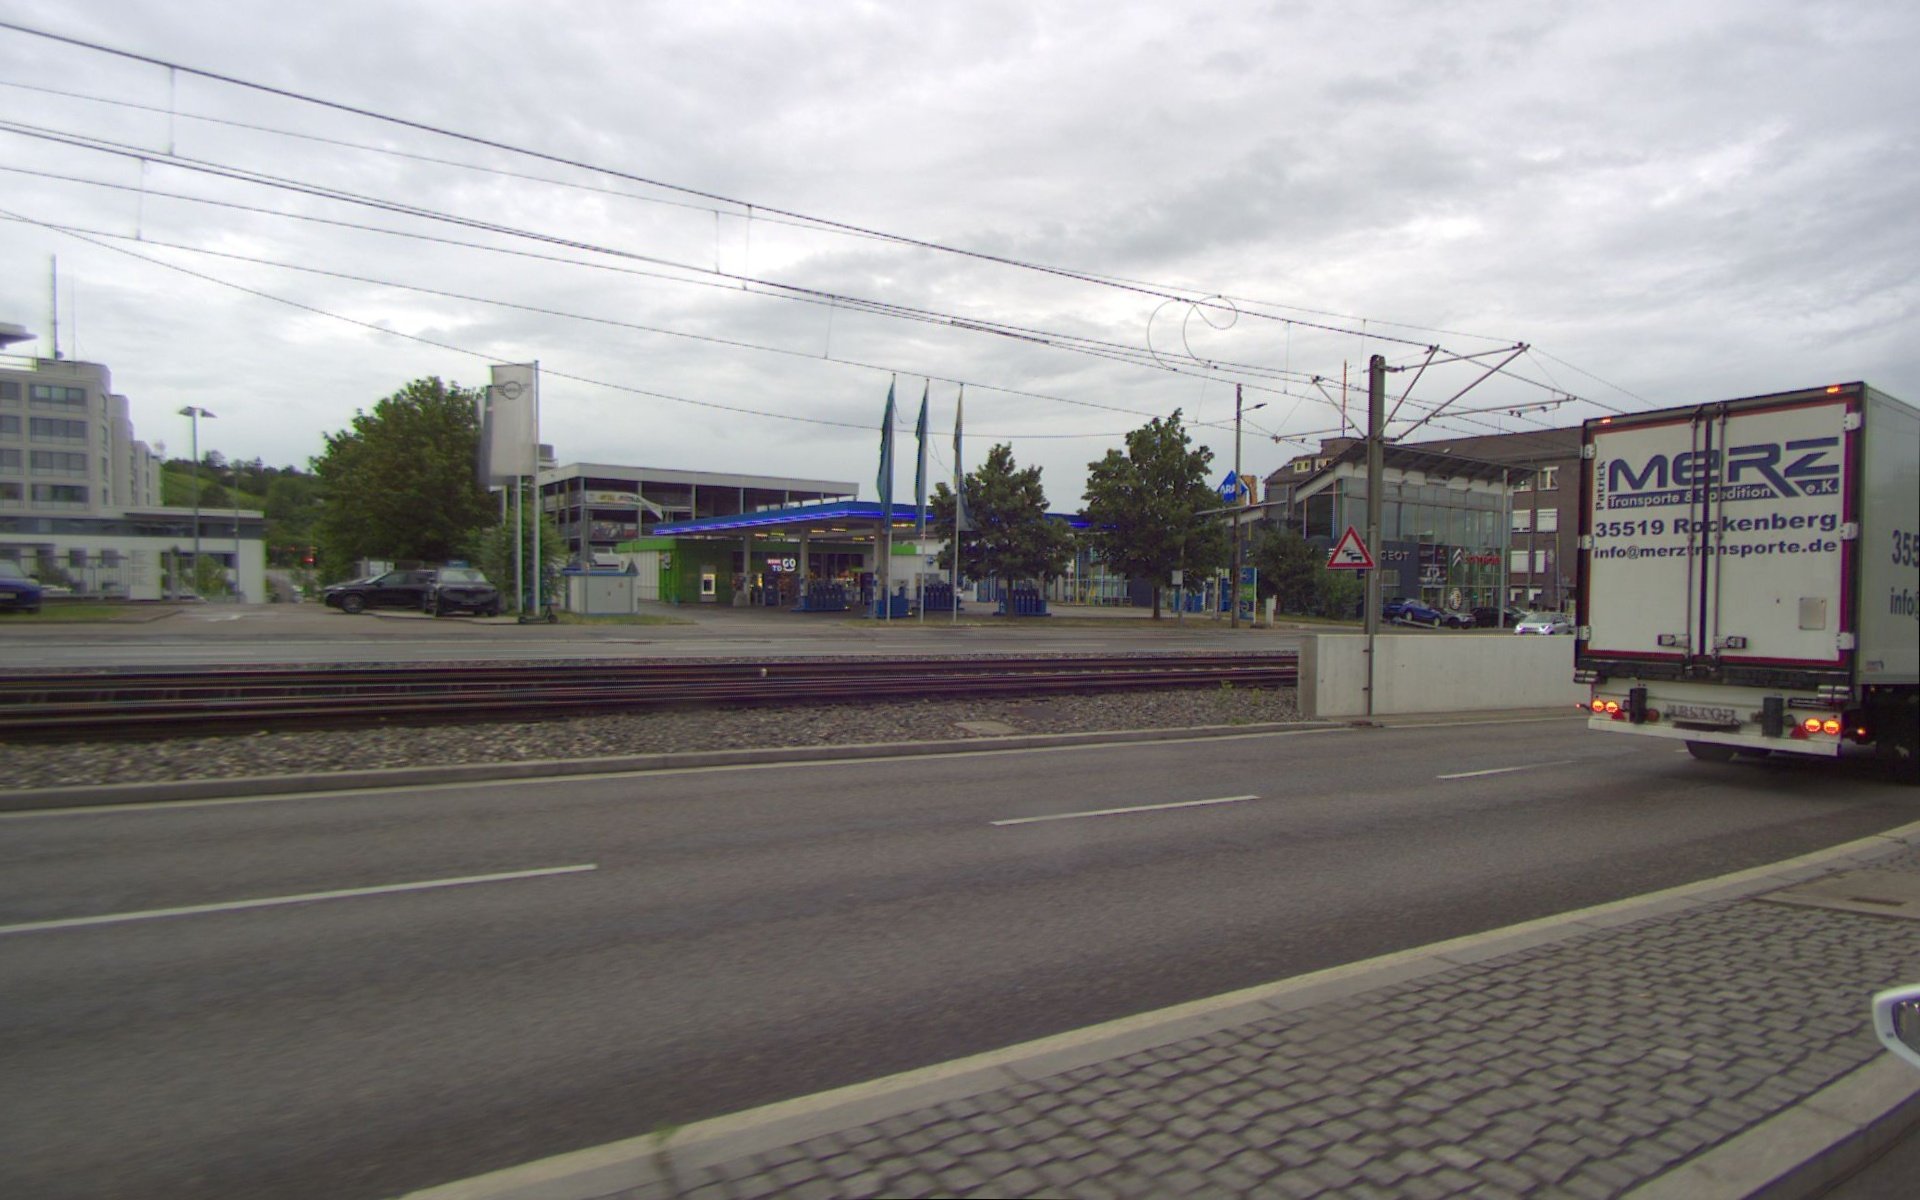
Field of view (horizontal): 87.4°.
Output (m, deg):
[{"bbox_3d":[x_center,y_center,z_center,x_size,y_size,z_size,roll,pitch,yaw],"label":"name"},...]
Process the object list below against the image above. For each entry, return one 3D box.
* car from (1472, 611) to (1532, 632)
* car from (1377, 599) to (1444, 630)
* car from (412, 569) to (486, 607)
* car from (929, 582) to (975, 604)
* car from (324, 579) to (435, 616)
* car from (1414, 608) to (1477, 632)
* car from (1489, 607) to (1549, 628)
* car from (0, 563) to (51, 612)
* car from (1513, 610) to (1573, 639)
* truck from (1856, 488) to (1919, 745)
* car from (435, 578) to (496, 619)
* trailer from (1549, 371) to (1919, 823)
[{"bbox_3d":[39.131,1.537,72.570,1.731,1.493,3.460,1,0,-33],"label":"car"},{"bbox_3d":[29.163,0.929,64.997,4.015,1.630,1.756,5,-1,-26],"label":"car"},{"bbox_3d":[-22.782,-0.526,44.774,2.773,1.594,1.372,1,1,-35],"label":"car"},{"bbox_3d":[-0.671,-0.581,78.899,1.836,1.662,3.966,1,1,-31],"label":"car"},{"bbox_3d":[-21.284,-0.085,36.864,3.398,1.260,1.574,1,1,-37],"label":"car"},{"bbox_3d":[32.835,1.376,67.959,1.559,1.421,3.480,0,-4,-36],"label":"car"},{"bbox_3d":[41.215,1.276,74.066,1.731,1.416,3.460,1,0,-33],"label":"car"},{"bbox_3d":[-26.293,-0.368,27.213,3.935,1.251,1.754,2,0,37],"label":"car"},{"bbox_3d":[28.031,1.192,48.280,2.770,1.317,1.374,1,1,-32],"label":"car"},{"bbox_3d":[18.830,0.316,17.826,6.236,4.261,2.741,1,-1,-32],"label":"truck"},{"bbox_3d":[-16.713,-0.076,33.884,1.695,1.291,3.500,1,1,-29],"label":"car"},{"bbox_3d":[13.202,0.078,14.243,13.037,4.309,2.747,1,-1,-32],"label":"trailer"}]
